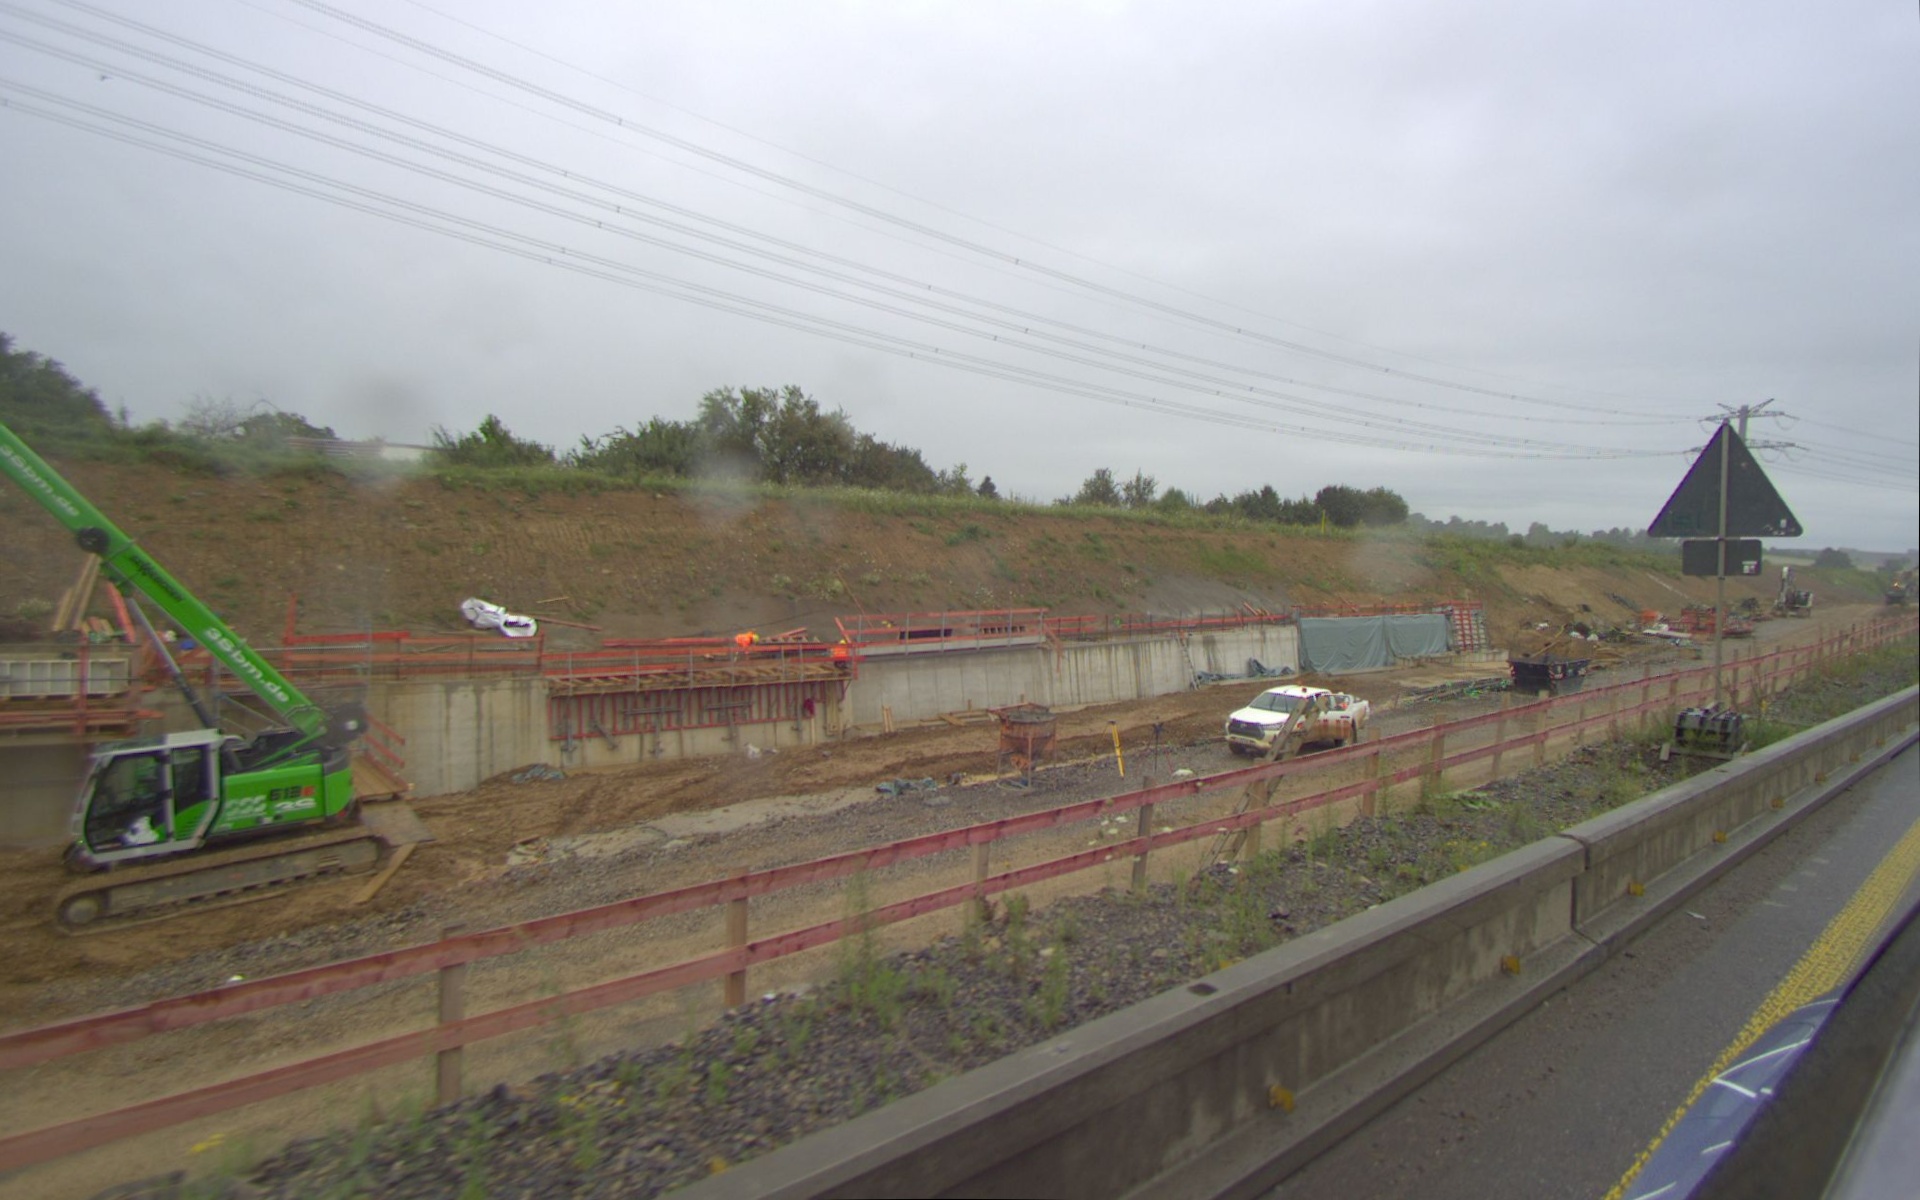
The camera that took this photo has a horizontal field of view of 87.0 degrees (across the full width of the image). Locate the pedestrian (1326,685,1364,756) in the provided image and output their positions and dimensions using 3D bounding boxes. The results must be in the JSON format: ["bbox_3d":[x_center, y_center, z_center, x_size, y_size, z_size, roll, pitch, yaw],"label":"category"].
[{"bbox_3d":[10.911,3.408,28.704,0.797,1.821,0.934,1,2,10],"label":"pedestrian"}]

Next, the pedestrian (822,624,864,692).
[{"bbox_3d":[-4.005,1.978,34.642,0.987,2.260,0.917,-2,-3,-36],"label":"pedestrian"}]

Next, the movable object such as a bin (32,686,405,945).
[{"bbox_3d":[-13.157,3.505,18.170,4.774,2.836,3.800,-7,6,-40],"label":"movable object such as a bin"}]

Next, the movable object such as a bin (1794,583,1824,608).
[{"bbox_3d":[97.685,-0.562,116.429,3.933,2.753,2.248,-1,1,-43],"label":"movable object such as a bin"}]

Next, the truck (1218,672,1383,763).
[{"bbox_3d":[9.947,3.284,29.279,5.684,1.894,1.766,-1,3,-40],"label":"truck"}]

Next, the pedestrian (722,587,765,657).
[{"bbox_3d":[-7.265,0.737,33.897,0.989,2.275,0.915,-1,-3,-43],"label":"pedestrian"}]
